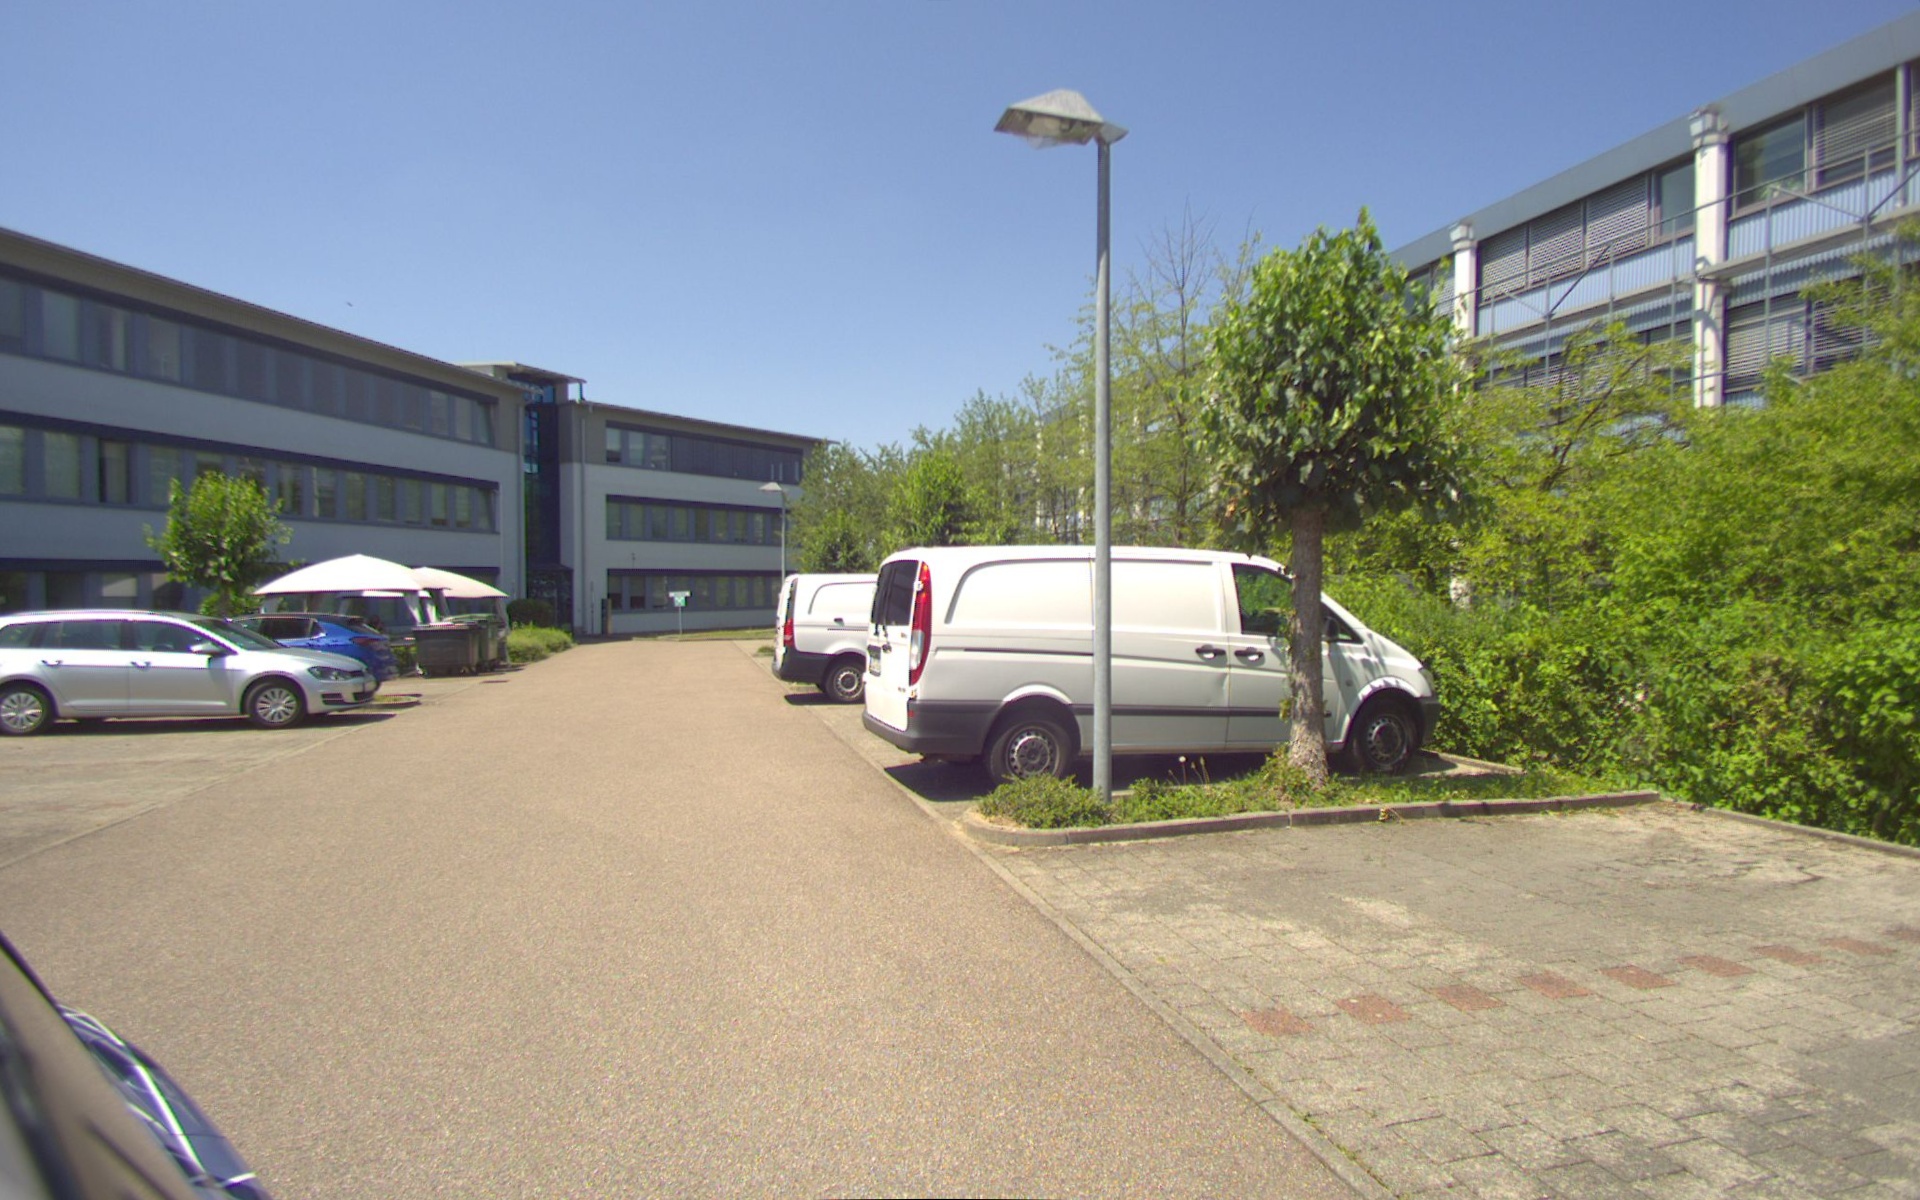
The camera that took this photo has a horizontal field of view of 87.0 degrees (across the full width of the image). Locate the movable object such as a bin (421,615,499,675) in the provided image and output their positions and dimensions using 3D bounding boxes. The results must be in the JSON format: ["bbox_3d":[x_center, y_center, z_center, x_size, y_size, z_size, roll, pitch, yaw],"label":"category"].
[{"bbox_3d":[-11.320,1.003,22.965,1.342,1.306,1.045,-1,0,-10],"label":"movable object such as a bin"}]

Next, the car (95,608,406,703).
[{"bbox_3d":[-11.237,0.863,16.328,3.762,1.402,1.657,1,-1,-16],"label":"car"}]

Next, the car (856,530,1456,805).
[{"bbox_3d":[1.597,0.453,8.602,4.655,1.920,1.835,-1,0,-16],"label":"car"}]

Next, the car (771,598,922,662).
[{"bbox_3d":[-2.998,0.760,26.542,3.701,1.569,1.666,-1,0,-16],"label":"car"}]

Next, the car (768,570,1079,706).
[{"bbox_3d":[-0.605,0.519,15.599,4.443,1.896,1.835,-1,0,-16],"label":"car"}]

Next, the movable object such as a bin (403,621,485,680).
[{"bbox_3d":[-11.141,1.072,21.900,1.342,1.198,0.999,-1,0,-10],"label":"movable object such as a bin"}]

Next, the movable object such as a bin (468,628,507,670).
[{"bbox_3d":[-11.175,1.150,23.946,0.680,0.956,0.724,-1,0,-10],"label":"movable object such as a bin"}]

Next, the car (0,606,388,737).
[{"bbox_3d":[-10.048,0.848,12.939,4.443,1.508,1.835,1,-1,-16],"label":"car"}]
